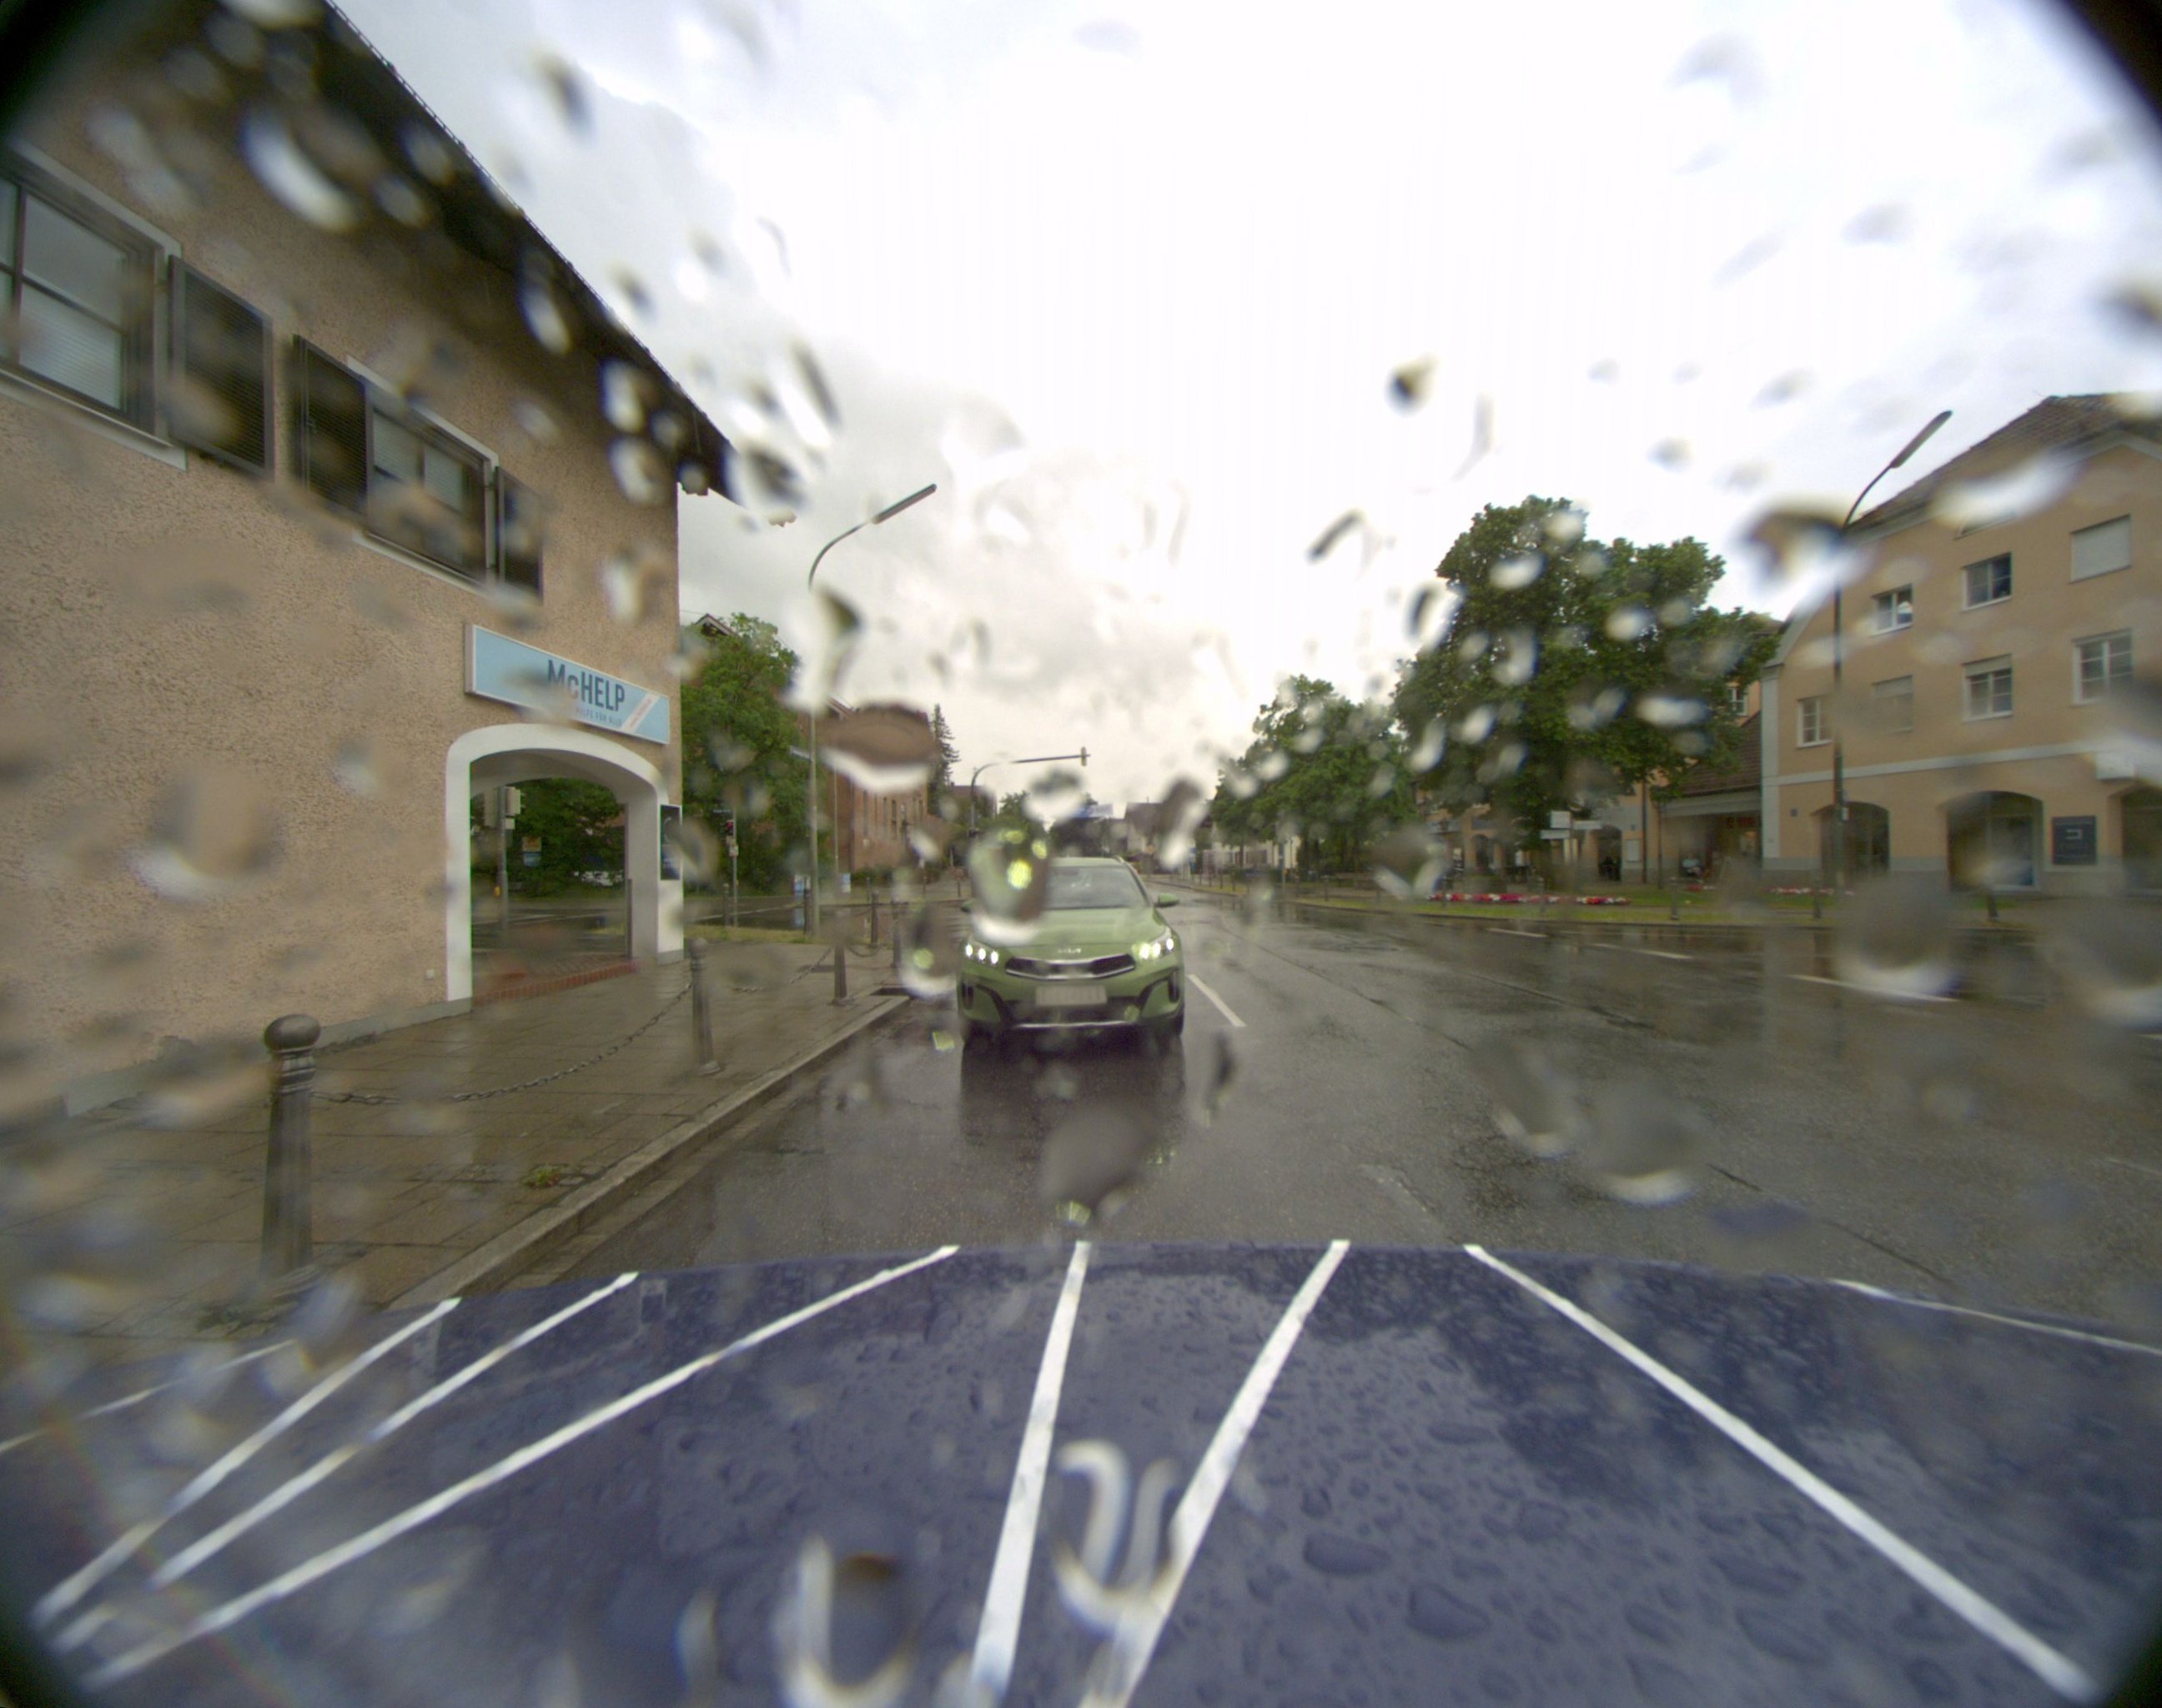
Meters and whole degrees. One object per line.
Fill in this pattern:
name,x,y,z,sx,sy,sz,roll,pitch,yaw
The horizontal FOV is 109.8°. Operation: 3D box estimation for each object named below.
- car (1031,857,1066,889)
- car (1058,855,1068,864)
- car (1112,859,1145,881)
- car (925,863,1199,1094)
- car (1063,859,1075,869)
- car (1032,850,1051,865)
car,-1.701,0.947,39.753,1.736,1.489,4.609,0,0,-3
car,-3.536,1.094,152.352,1.810,1.677,3.998,-1,0,-4
car,3.238,1.073,52.193,1.873,1.447,4.103,-1,0,-2
car,-0.101,0.885,7.294,1.872,1.505,4.104,-1,0,1
car,-2.062,1.665,127.221,1.810,1.677,3.998,-1,0,-4
car,-5.255,0.453,100.406,2.218,1.977,4.952,0,0,-5
